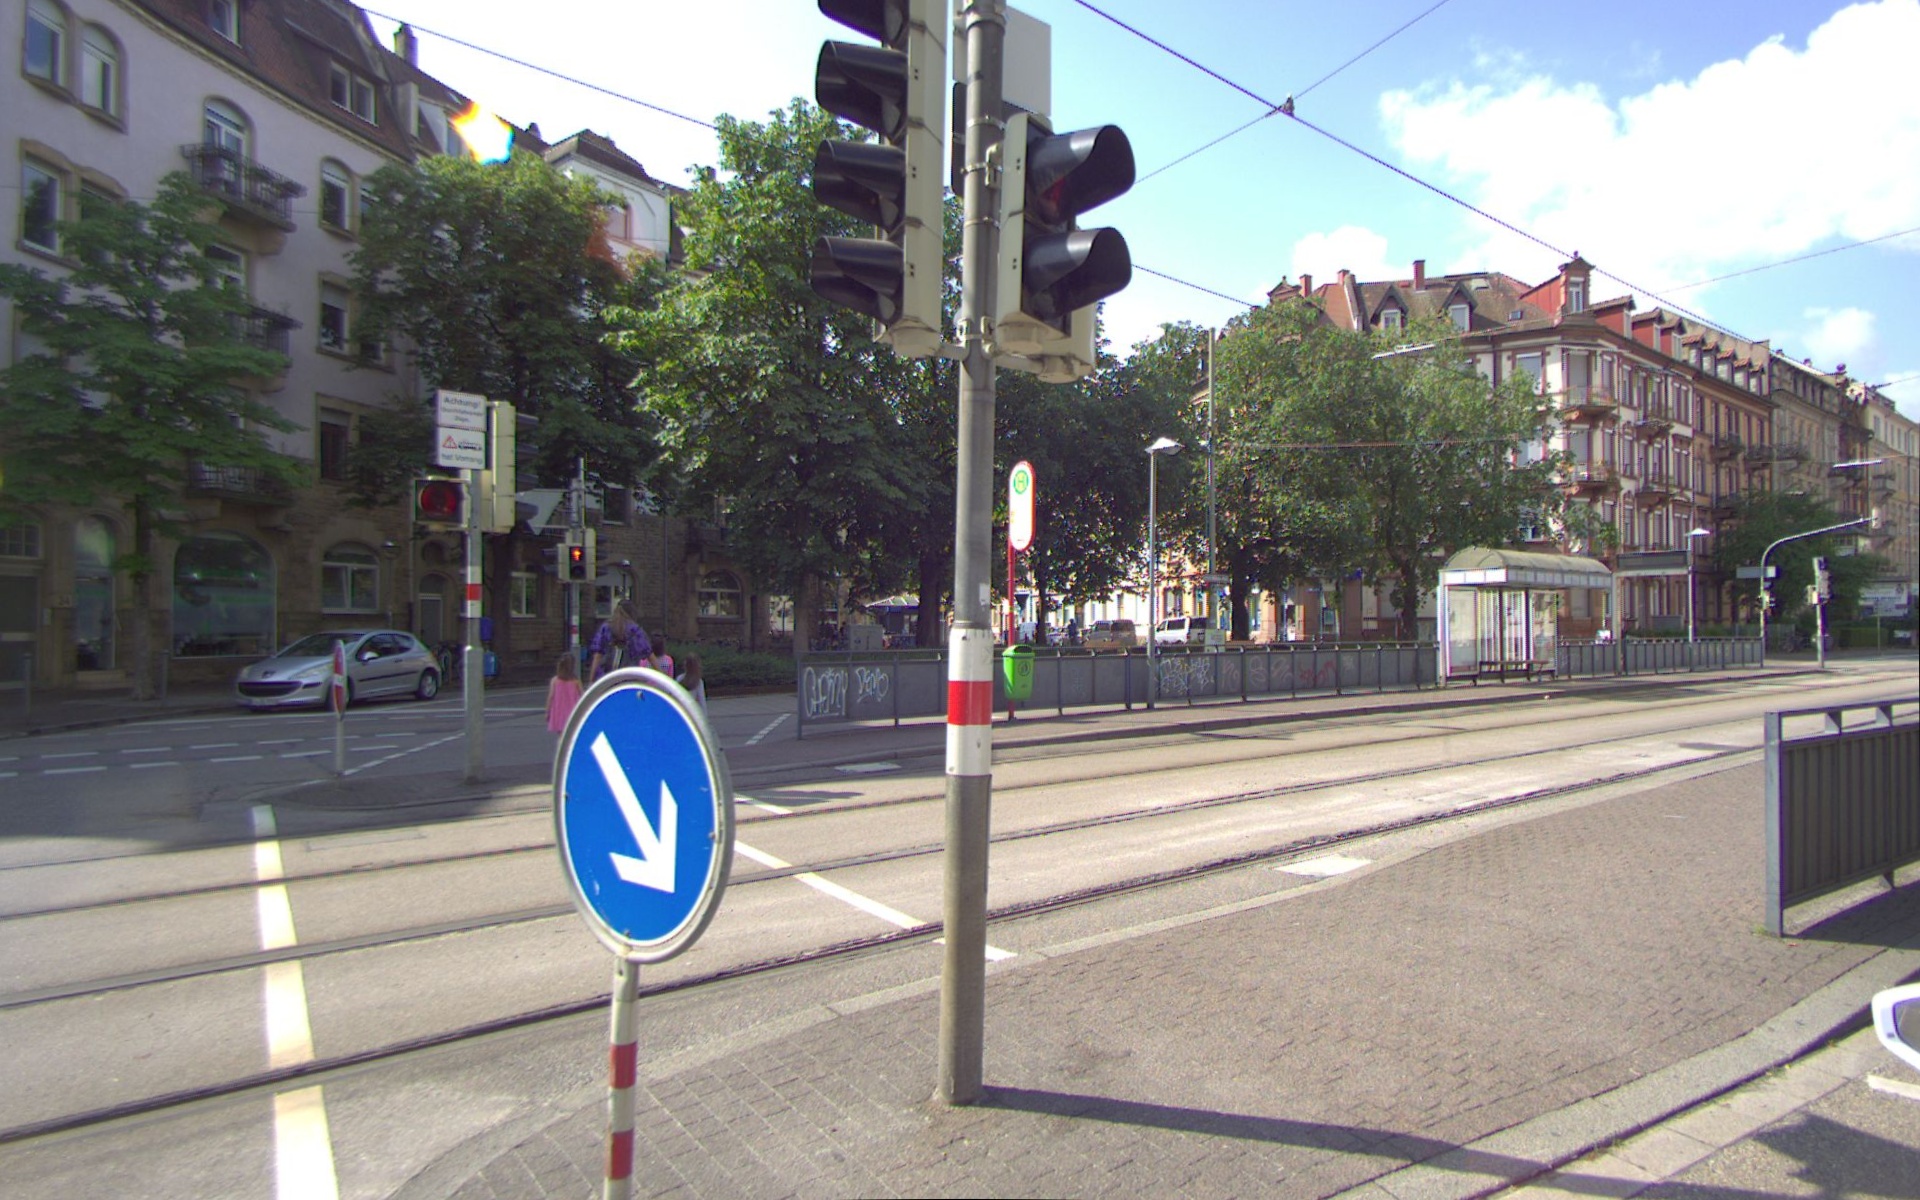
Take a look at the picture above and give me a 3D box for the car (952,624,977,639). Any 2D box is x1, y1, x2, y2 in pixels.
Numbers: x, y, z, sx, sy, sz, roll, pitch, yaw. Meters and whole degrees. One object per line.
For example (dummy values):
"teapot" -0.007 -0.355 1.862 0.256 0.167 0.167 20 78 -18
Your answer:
"car" 0.434 3.191 101.586 1.685 1.524 3.676 0 -1 -14

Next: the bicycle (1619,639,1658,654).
"bicycle" 33.576 2.297 49.688 1.677 0.757 0.386 0 -1 0

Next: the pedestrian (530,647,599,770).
"pedestrian" -3.822 1.022 9.697 0.440 1.128 0.635 1 -2 -41

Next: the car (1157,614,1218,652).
"car" 12.572 1.804 55.671 1.824 2.015 3.939 0 -1 -12

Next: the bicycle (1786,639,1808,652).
"bicycle" 45.172 2.469 54.209 1.692 0.686 0.383 1 -1 -32

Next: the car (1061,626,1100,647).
"car" 8.442 2.546 70.583 1.469 1.411 3.683 0 -2 -15

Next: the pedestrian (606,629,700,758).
"pedestrian" -3.326 0.990 10.865 0.712 1.320 0.818 1 -4 -41

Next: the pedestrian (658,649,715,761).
"pedestrian" -2.839 1.076 10.426 0.420 1.122 0.434 1 -4 -41

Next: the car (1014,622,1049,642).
"car" 5.731 2.536 80.502 1.688 1.575 3.909 0 -1 -14

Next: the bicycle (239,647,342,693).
"bicycle" -14.218 1.479 21.338 1.990 0.894 0.523 1 -1 10

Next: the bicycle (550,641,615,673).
"bicycle" -11.765 1.774 31.325 1.991 0.910 0.546 1 -1 20

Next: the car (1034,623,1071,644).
"car" 6.953 2.524 75.838 1.603 1.513 3.635 0 -2 -15

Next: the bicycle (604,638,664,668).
"bicycle" -10.819 1.760 33.359 1.992 0.910 0.572 1 -1 24

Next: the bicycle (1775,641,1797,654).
"bicycle" 43.458 2.474 52.847 1.692 0.662 0.383 1 -1 -32

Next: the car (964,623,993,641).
"car" 1.715 3.066 96.283 1.864 1.694 3.779 0 -1 -14

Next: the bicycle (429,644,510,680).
"bicycle" -13.130 1.649 26.890 1.990 0.894 0.547 1 -1 10

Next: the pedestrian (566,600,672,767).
"pedestrian" -3.421 0.807 10.071 0.793 1.586 0.722 1 -2 -41

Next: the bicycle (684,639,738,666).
"bicycle" -9.056 1.896 36.454 1.993 0.910 0.571 1 -1 27

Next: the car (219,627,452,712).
"car" -11.684 1.240 19.122 1.686 1.439 3.876 0 -2 7

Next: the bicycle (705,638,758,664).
"bicycle" -8.447 1.879 37.125 1.993 0.910 0.571 1 -1 27

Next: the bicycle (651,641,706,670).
"bicycle" -9.891 1.941 35.307 1.993 0.910 0.571 1 -1 27

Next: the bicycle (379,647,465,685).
"bicycle" -13.498 1.647 25.211 1.990 0.894 0.512 1 -1 10

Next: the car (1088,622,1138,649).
"car" 9.915 2.278 65.259 1.883 1.685 3.931 0 -2 -13
